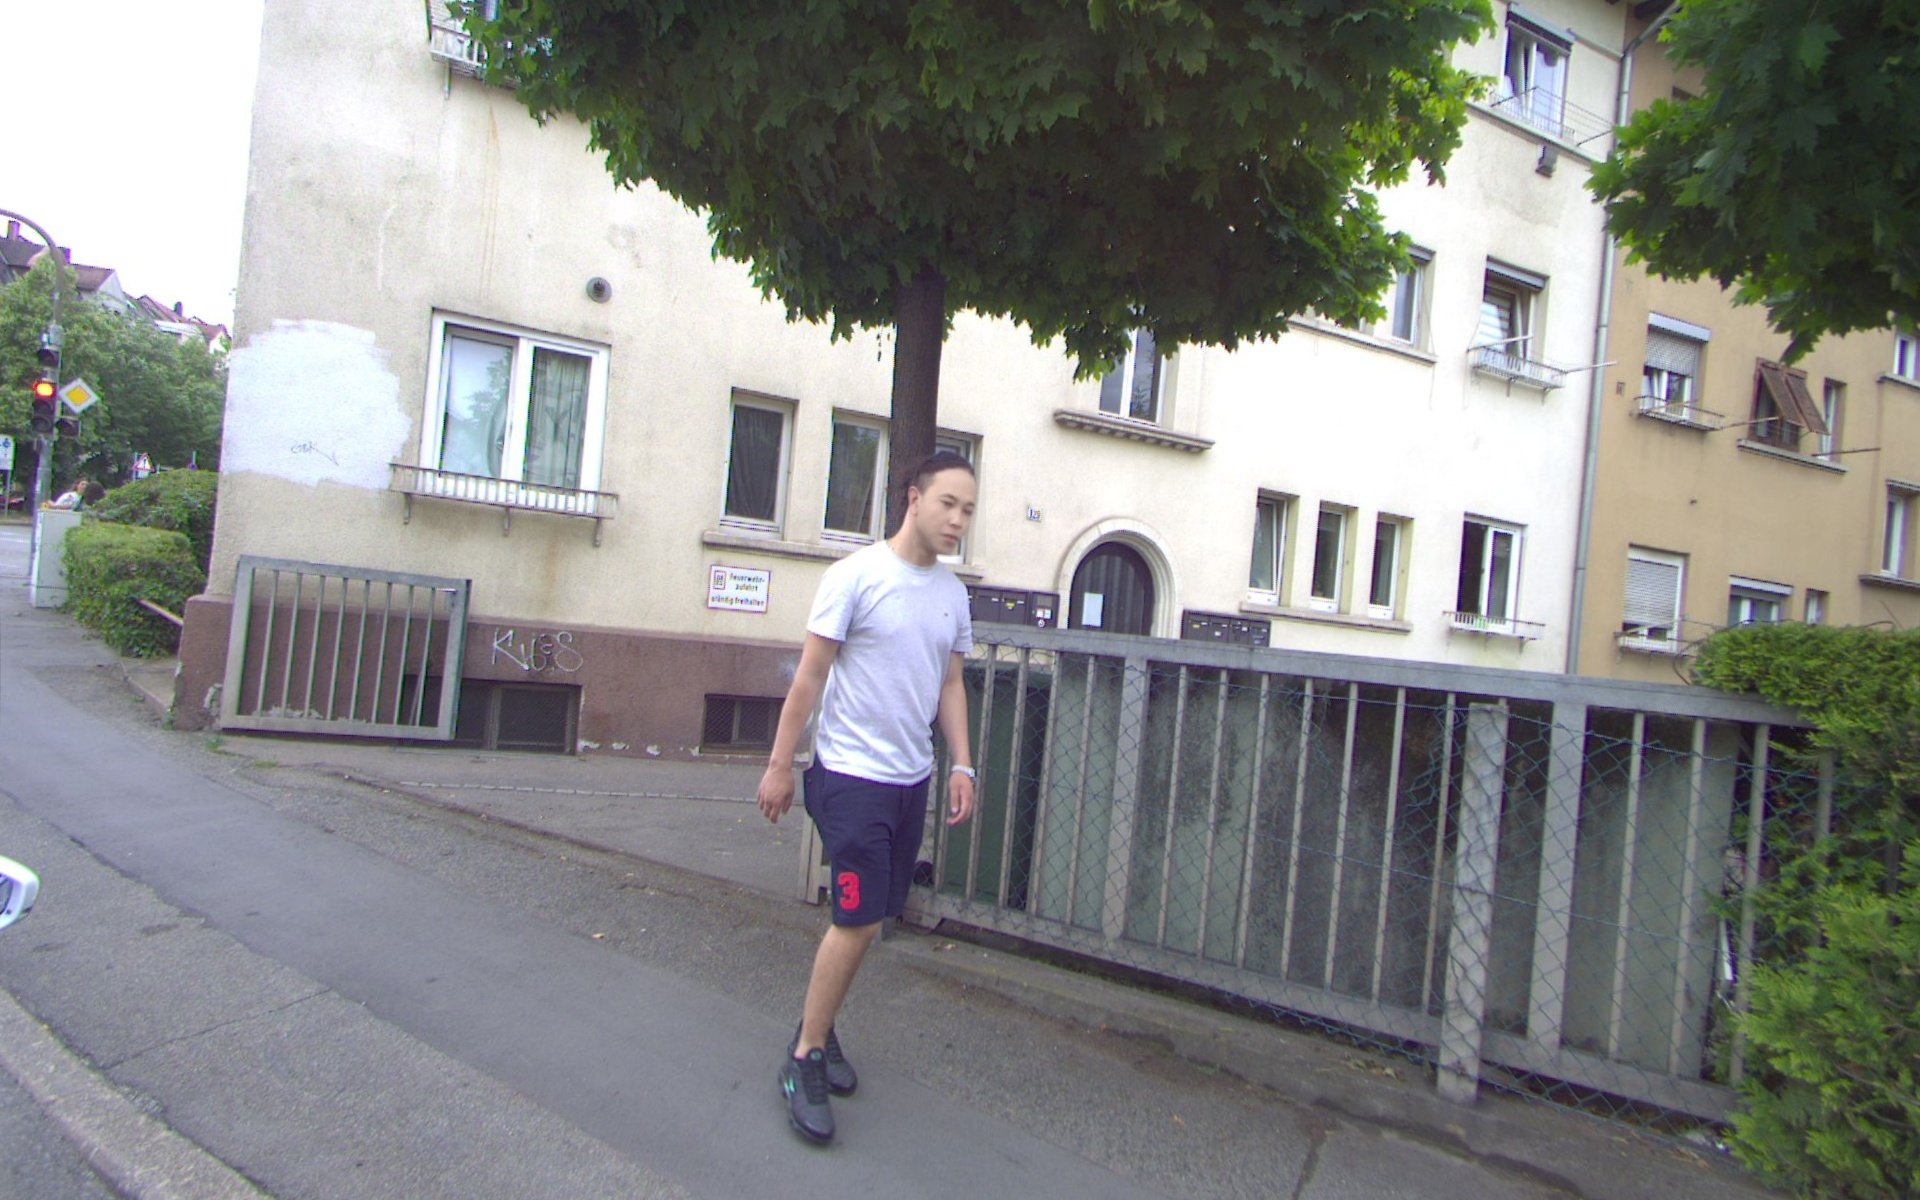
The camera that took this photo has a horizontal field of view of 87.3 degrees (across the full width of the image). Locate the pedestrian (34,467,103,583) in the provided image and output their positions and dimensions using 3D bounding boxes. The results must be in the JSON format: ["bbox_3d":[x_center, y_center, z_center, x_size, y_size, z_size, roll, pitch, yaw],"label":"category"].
[{"bbox_3d":[-15.049,-1.262,16.984,0.581,1.840,0.529,7,-2,32],"label":"pedestrian"}]

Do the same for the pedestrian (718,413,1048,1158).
[{"bbox_3d":[-0.188,0.435,2.762,0.459,1.761,0.693,7,3,29],"label":"pedestrian"}]

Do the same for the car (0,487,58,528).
[{"bbox_3d":[-60.819,-6.014,64.977,1.970,2.036,3.992,8,-3,-15],"label":"car"}]

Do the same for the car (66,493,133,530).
[{"bbox_3d":[-62.951,-6.449,73.691,1.970,2.036,3.992,8,-3,-15],"label":"car"}]
